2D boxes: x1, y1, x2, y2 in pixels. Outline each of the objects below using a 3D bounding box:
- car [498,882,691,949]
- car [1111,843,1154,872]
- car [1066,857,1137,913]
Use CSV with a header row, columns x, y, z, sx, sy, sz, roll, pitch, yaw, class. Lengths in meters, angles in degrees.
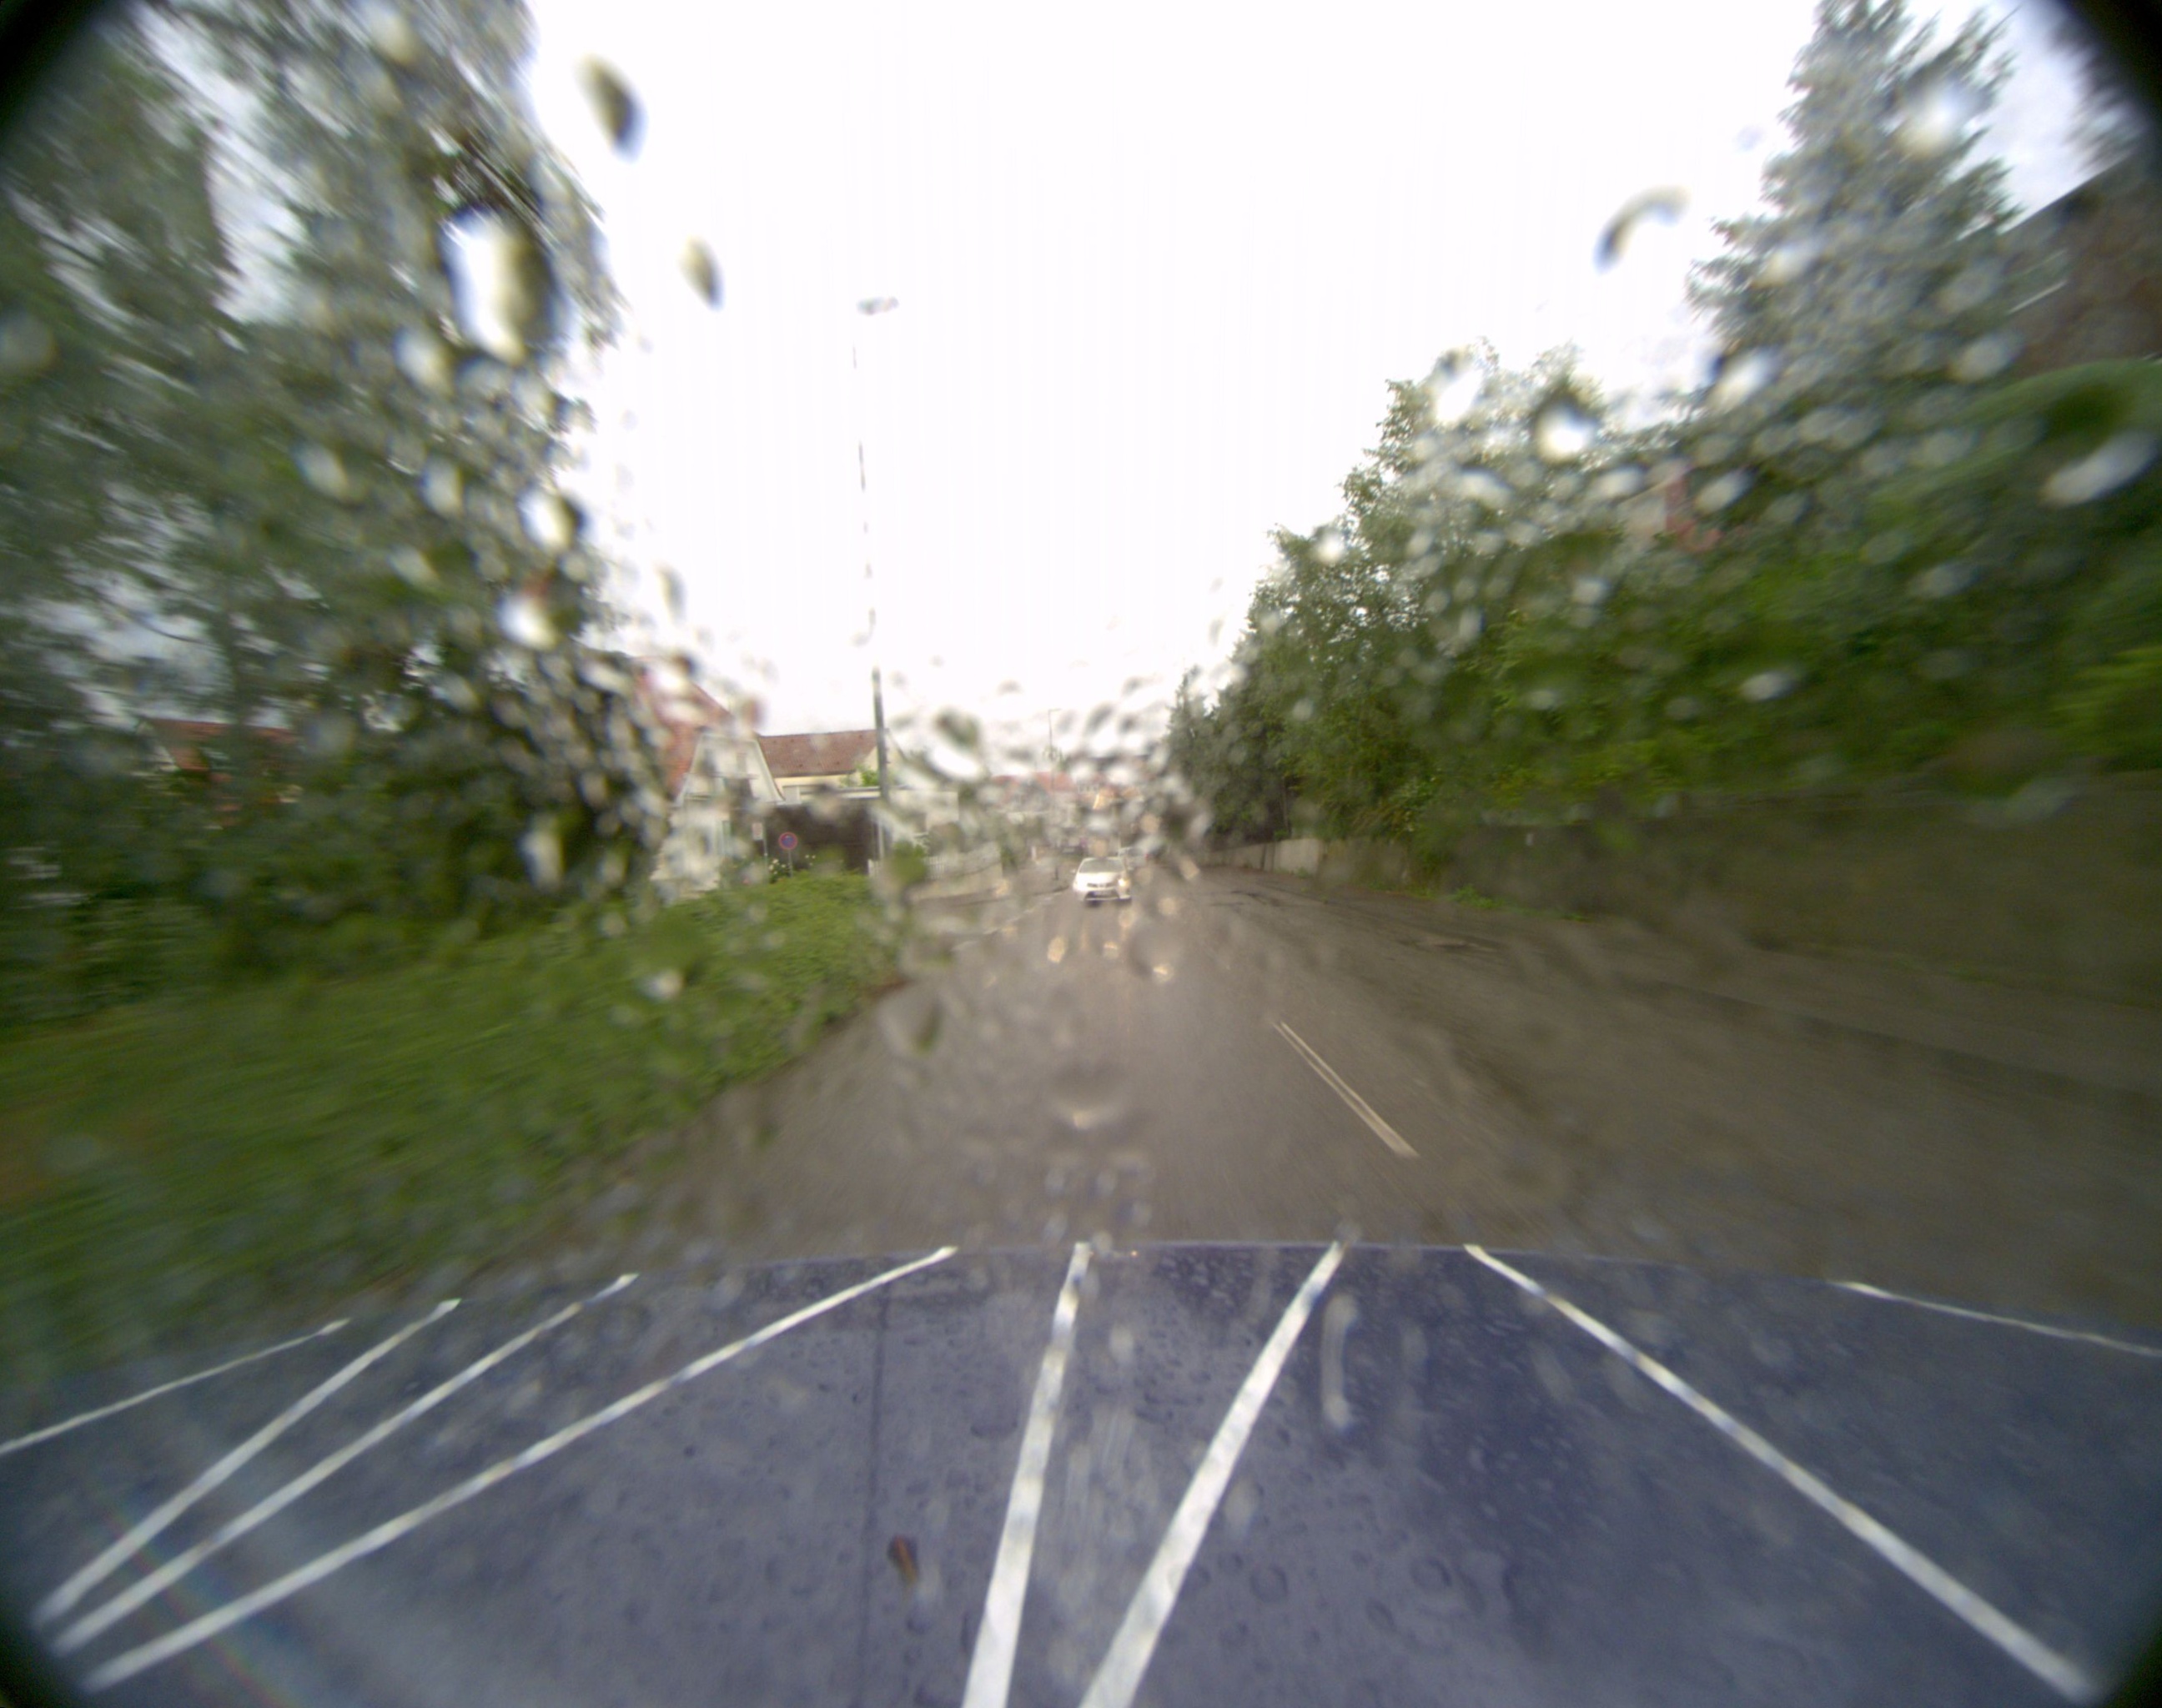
x,y,z,sx,sy,sz,roll,pitch,yaw,class
-13.584,1.685,21.390,4.177,1.492,1.864,-3,1,3,car
3.663,0.253,54.773,2.114,1.863,4.177,-4,1,-10,car
0.697,0.856,22.939,1.862,1.370,4.181,-3,1,3,car
